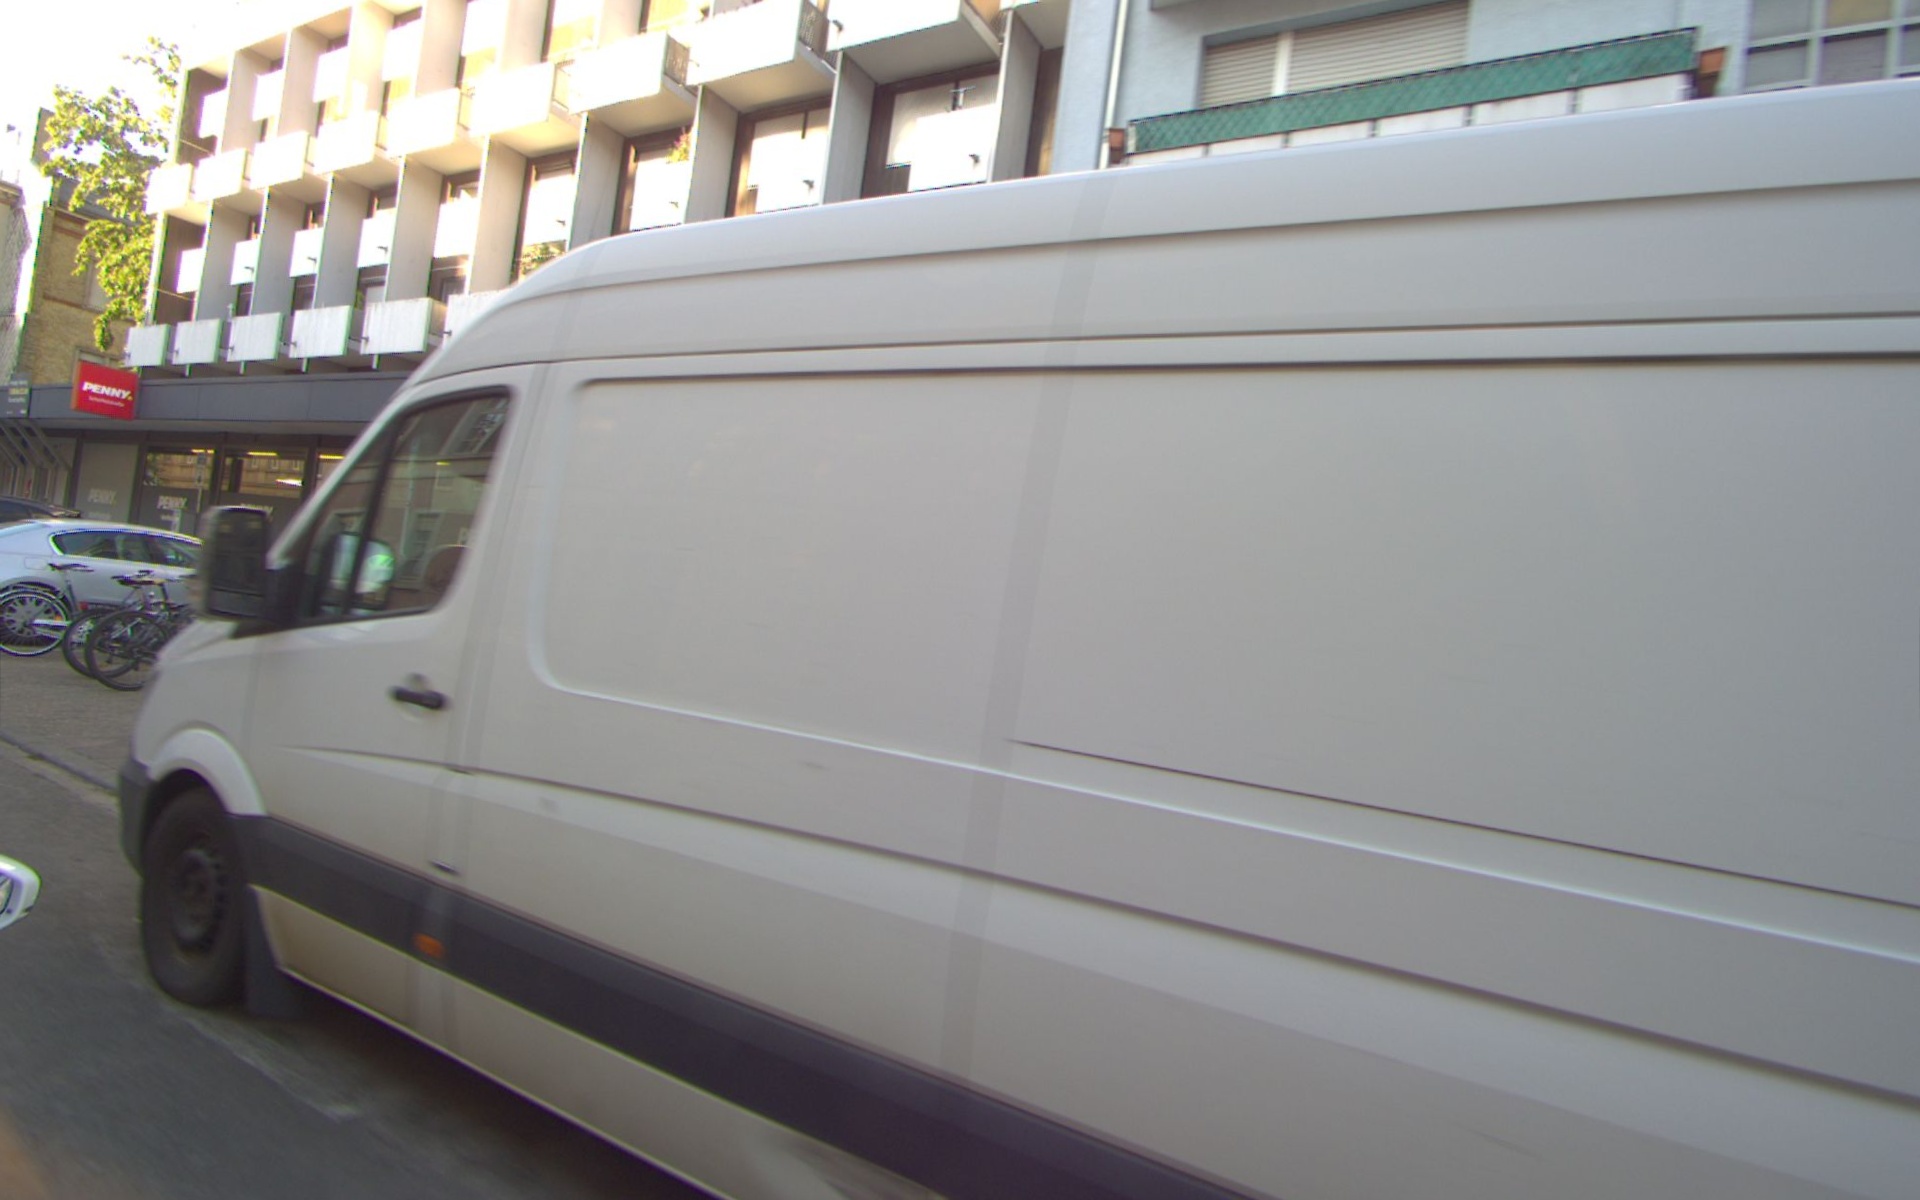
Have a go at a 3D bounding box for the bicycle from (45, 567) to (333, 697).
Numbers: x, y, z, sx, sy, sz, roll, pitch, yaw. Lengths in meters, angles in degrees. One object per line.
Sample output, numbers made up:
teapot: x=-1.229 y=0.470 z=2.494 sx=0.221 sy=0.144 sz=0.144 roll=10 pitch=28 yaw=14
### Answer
bicycle: x=-7.356 y=0.350 z=9.744 sx=0.711 sy=1.061 sz=2.047 roll=7 pitch=-1 yaw=24

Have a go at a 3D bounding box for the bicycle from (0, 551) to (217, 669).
bicycle: x=-9.372 y=0.129 z=10.919 sx=0.668 sy=1.079 sz=1.901 roll=7 pitch=-1 yaw=34

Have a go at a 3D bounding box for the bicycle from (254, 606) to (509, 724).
bicycle: x=-5.523 y=0.643 z=9.778 sx=0.711 sy=0.946 sz=2.047 roll=7 pitch=-1 yaw=24

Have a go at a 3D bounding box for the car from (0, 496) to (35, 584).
car: x=-21.101 y=-1.521 z=19.164 sx=1.964 sy=1.724 sz=4.587 roll=7 pitch=-3 yaw=24

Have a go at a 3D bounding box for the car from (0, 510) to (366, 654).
car: x=-10.425 y=-0.201 z=12.738 sx=1.810 sy=1.484 sz=4.630 roll=7 pitch=0 yaw=31

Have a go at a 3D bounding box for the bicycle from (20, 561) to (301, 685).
bicycle: x=-7.992 y=0.285 z=10.188 sx=0.712 sy=1.061 sz=2.047 roll=7 pitch=-1 yaw=26

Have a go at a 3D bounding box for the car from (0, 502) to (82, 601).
car: x=-18.750 y=-1.145 z=17.739 sx=1.765 sy=1.694 sz=4.471 roll=7 pitch=-3 yaw=26

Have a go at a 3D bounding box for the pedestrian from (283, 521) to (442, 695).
pedestrian: x=-6.633 y=0.099 z=11.240 sx=1.044 sy=1.741 sz=0.935 roll=7 pitch=0 yaw=-3

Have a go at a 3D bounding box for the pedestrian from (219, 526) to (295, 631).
pedestrian: x=-12.268 y=-0.379 z=17.567 sx=0.898 sy=1.681 sz=0.863 roll=8 pitch=-1 yaw=-35

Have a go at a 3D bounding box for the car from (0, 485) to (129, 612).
car: x=-16.566 y=-1.071 z=16.038 sx=1.966 sy=1.879 sz=4.582 roll=7 pitch=-3 yaw=30

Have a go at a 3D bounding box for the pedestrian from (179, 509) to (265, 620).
pedestrian: x=-14.233 y=-0.680 z=19.406 sx=1.082 sy=1.968 sz=0.861 roll=8 pitch=-1 yaw=-41

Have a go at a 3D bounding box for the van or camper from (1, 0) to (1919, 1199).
van or camper: x=0.164 y=0.321 z=2.940 sx=7.384 sy=2.633 sz=2.104 roll=6 pitch=-1 yaw=30

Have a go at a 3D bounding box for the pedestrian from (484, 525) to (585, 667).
pedestrian: x=-6.380 y=-0.035 z=15.140 sx=0.855 sy=1.968 sz=1.006 roll=7 pitch=-1 yaw=1
